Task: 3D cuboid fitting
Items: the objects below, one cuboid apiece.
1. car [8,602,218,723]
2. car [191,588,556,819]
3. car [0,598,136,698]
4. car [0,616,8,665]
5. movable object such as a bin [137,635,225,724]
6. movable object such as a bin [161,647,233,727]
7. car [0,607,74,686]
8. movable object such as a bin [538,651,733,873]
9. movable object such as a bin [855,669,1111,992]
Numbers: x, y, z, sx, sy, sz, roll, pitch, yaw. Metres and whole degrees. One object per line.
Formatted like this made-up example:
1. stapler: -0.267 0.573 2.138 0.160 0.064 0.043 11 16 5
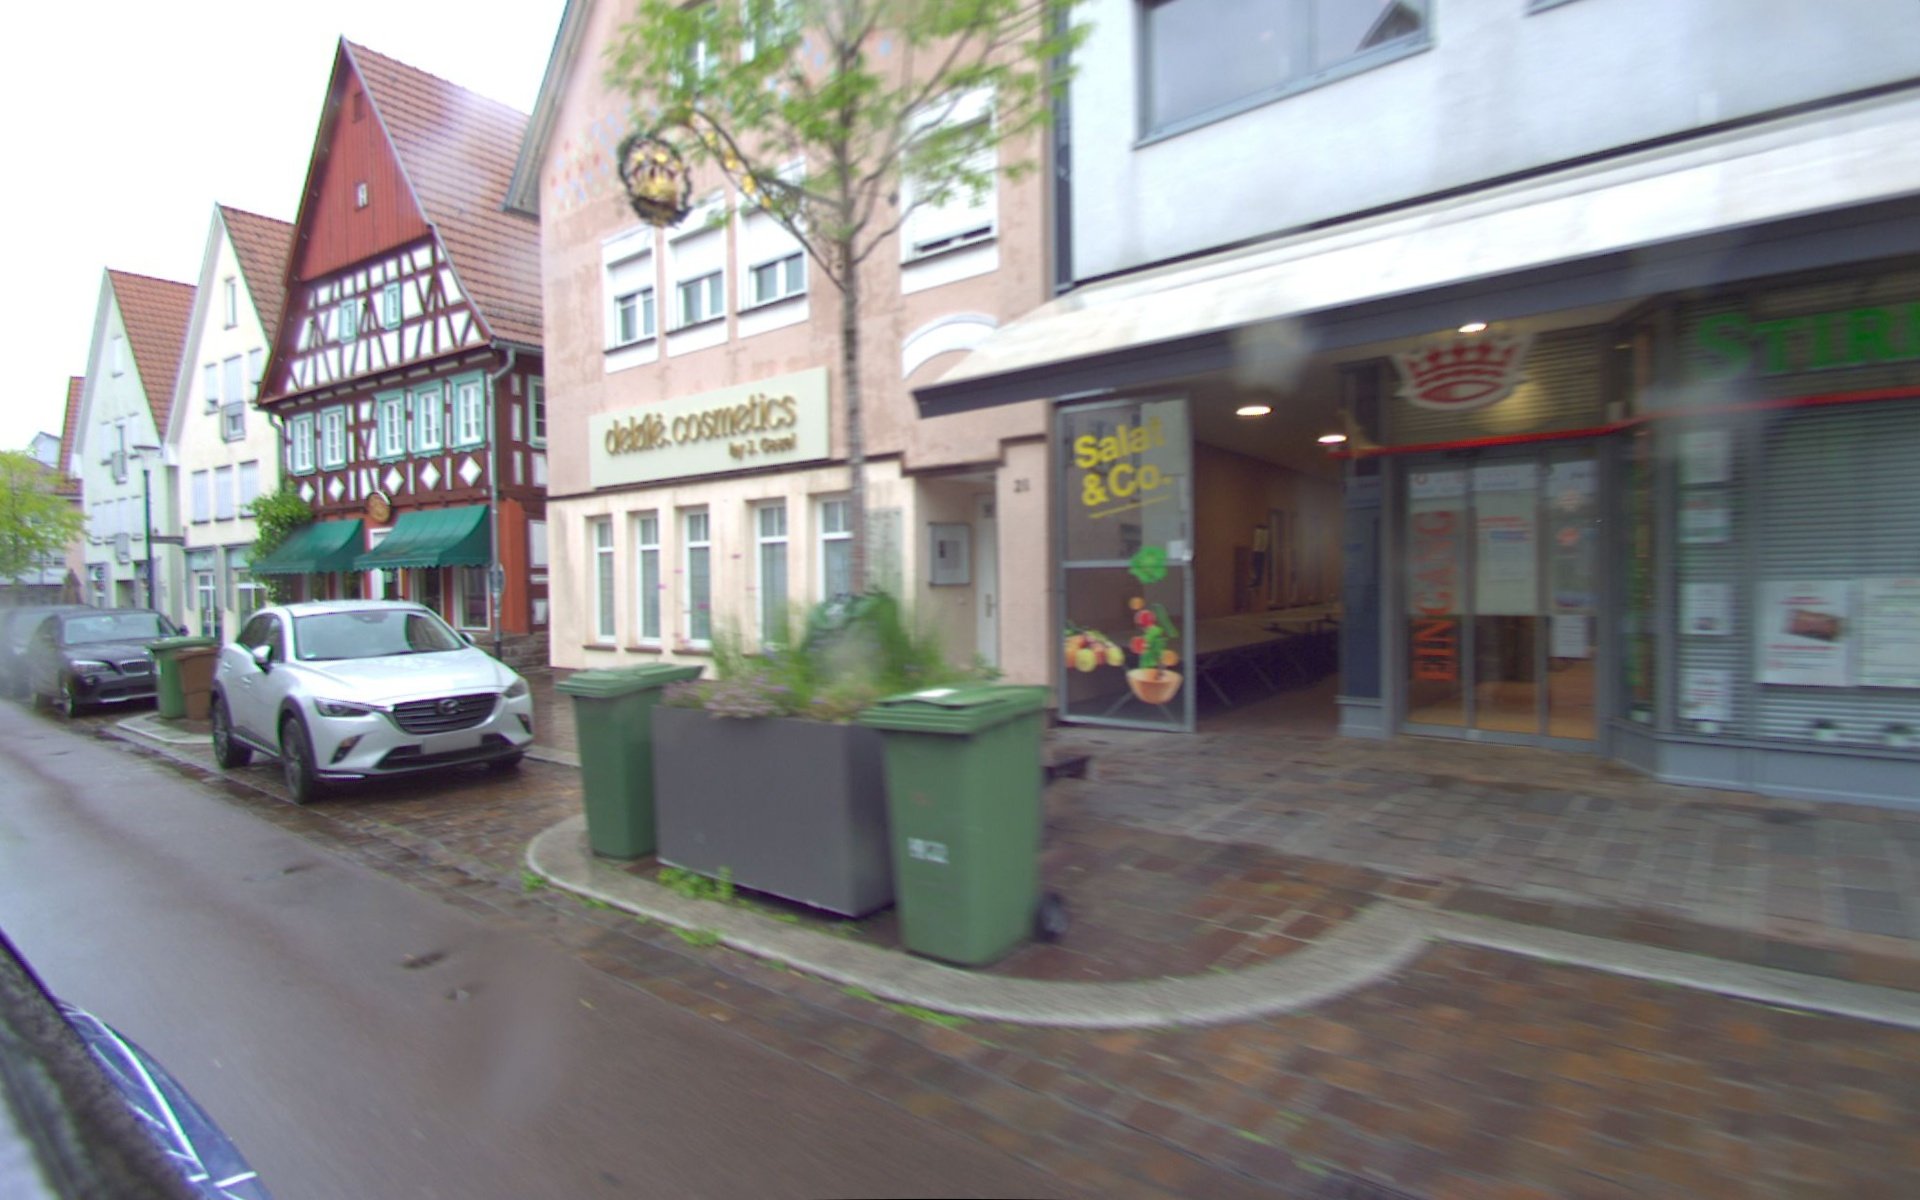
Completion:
1. car: -13.470 0.934 16.014 4.287 1.549 1.762 -2 2 40
2. car: -5.420 0.772 9.108 4.121 1.549 1.673 -2 1 43
3. car: -17.972 0.888 20.040 4.641 1.678 1.805 -1 1 42
4. car: -31.918 1.342 32.374 4.328 1.535 1.842 -1 2 44
5. movable object such as a bin: -10.465 1.047 13.594 0.675 1.090 0.762 0 2 37
6. movable object such as a bin: -9.964 1.122 13.220 0.498 0.945 0.603 0 3 37
7. car: -23.396 1.089 24.916 4.641 1.678 1.805 1 3 42
8. movable object such as a bin: -1.865 0.874 5.824 0.693 1.093 0.778 -2 1 44
9. movable object such as a bin: 0.097 0.849 4.066 0.704 1.060 0.701 -2 1 42
